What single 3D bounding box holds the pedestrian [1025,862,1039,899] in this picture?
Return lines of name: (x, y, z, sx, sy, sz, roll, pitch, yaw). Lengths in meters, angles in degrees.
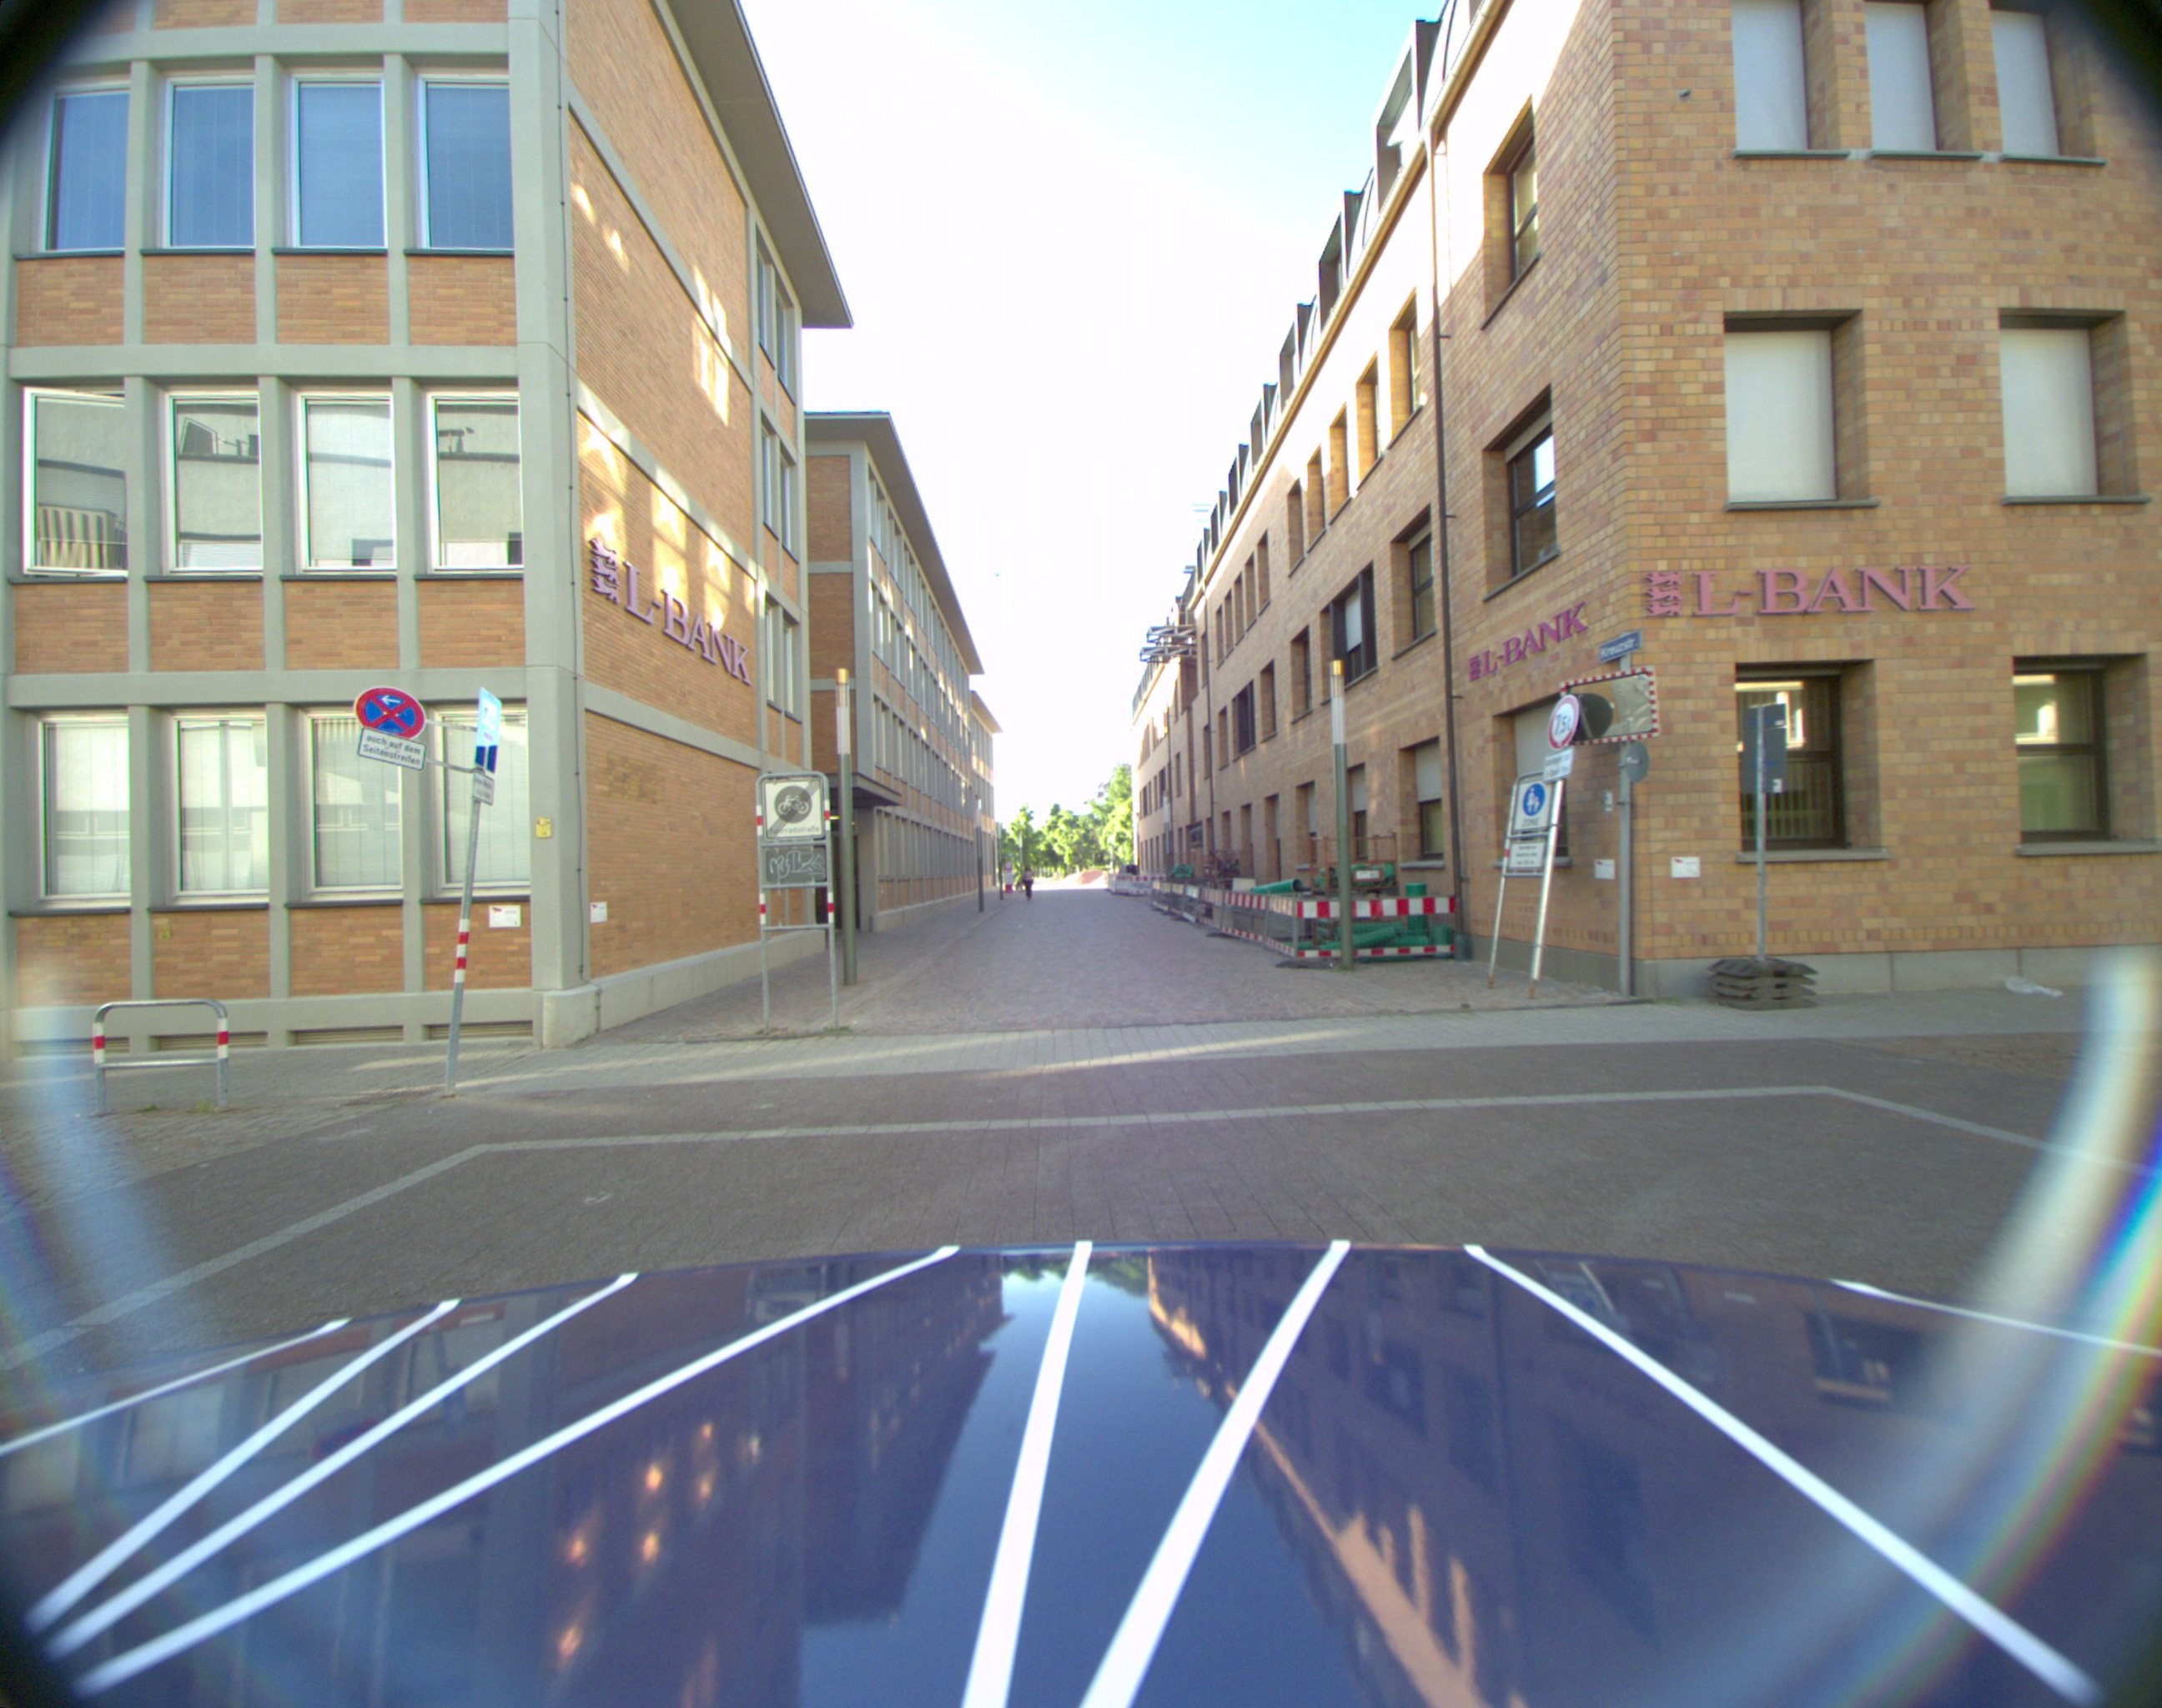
pedestrian: (-2.417, 1.312, 37.484, 0.638, 1.774, 0.652, -2, -3, -2)
